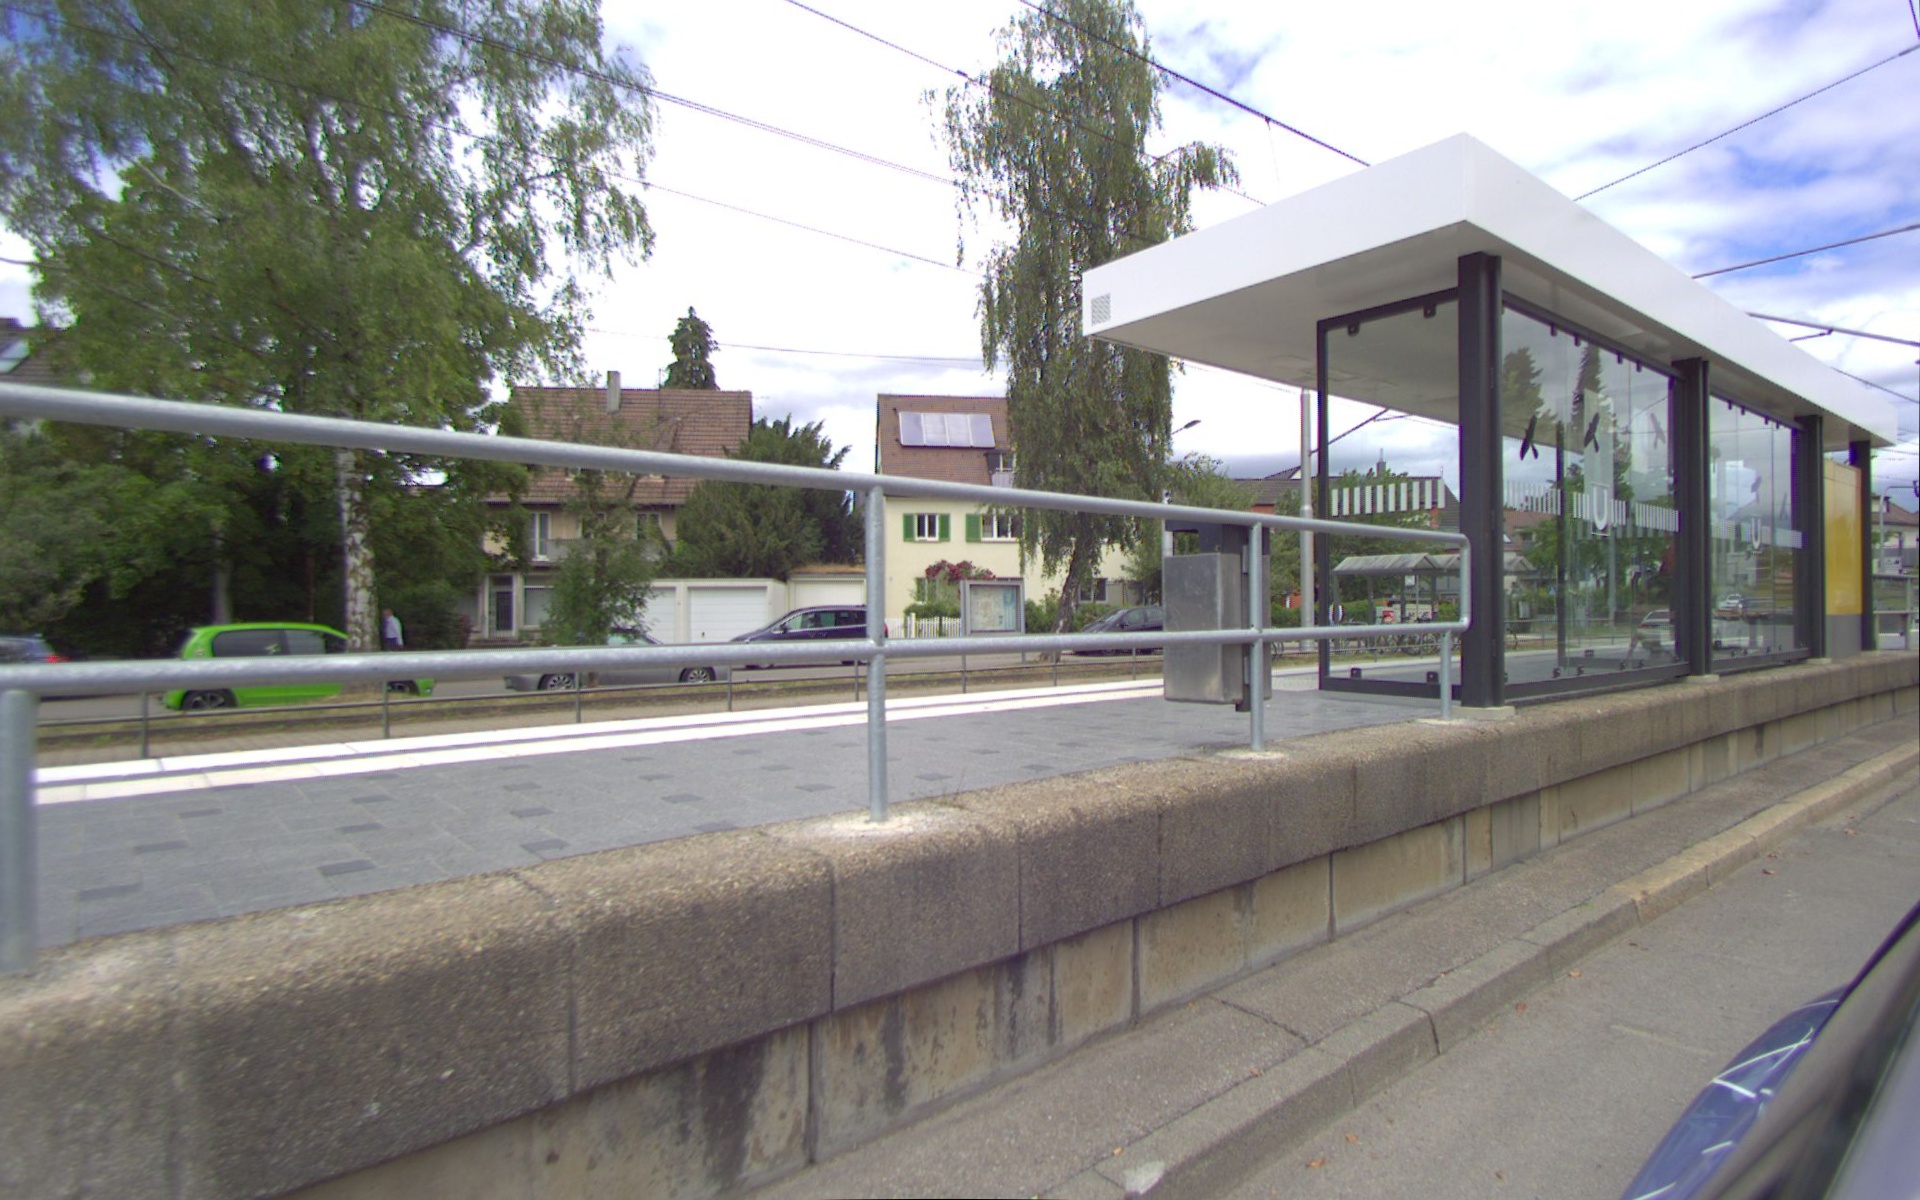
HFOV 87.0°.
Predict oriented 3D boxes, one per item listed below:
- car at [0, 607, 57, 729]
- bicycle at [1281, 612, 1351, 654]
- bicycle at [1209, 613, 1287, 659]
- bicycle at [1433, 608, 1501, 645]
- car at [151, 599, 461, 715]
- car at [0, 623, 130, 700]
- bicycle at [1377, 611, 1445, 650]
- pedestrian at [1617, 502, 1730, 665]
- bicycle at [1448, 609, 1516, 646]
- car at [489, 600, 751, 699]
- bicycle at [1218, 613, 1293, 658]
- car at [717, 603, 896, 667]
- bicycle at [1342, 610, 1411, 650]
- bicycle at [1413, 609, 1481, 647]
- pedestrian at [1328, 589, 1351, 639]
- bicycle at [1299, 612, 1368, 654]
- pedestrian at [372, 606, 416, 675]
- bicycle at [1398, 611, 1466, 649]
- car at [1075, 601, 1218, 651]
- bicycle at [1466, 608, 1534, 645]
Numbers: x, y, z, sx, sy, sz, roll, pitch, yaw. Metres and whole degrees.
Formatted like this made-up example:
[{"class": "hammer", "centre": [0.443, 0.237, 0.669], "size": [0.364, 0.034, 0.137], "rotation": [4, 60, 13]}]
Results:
[{"class": "car", "centre": [-14.382, 0.911, 12.960], "size": [4.023, 1.594, 1.761], "rotation": [0, -1, -36]}, {"class": "bicycle", "centre": [9.280, 0.842, 26.440], "size": [0.546, 1.055, 1.772], "rotation": [0, -1, -29]}, {"class": "bicycle", "centre": [6.865, 0.854, 24.198], "size": [0.547, 1.055, 1.768], "rotation": [0, -1, -40]}, {"class": "bicycle", "centre": [14.844, 0.766, 29.662], "size": [0.546, 1.055, 1.772], "rotation": [0, -1, -29]}, {"class": "car", "centre": [-10.179, 0.801, 15.955], "size": [3.925, 1.594, 1.735], "rotation": [0, -1, -36]}, {"class": "car", "centre": [-20.962, 1.340, 21.497], "size": [4.827, 1.507, 1.765], "rotation": [-2, 1, -23]}, {"class": "bicycle", "centre": [12.695, 0.841, 28.547], "size": [0.546, 1.055, 1.772], "rotation": [0, -1, -29]}, {"class": "pedestrian", "centre": [6.090, -0.132, 8.635], "size": [0.707, 1.315, 0.621], "rotation": [0, -1, -41]}, {"class": "bicycle", "centre": [15.455, 0.814, 30.013], "size": [0.546, 1.055, 1.772], "rotation": [0, -1, -29]}, {"class": "car", "centre": [-6.227, 0.825, 18.691], "size": [4.181, 1.594, 2.069], "rotation": [0, 0, -36]}, {"class": "bicycle", "centre": [7.252, 0.858, 24.938], "size": [0.547, 1.055, 1.768], "rotation": [0, -1, -39]}, {"class": "car", "centre": [-4.342, 0.934, 28.674], "size": [4.738, 1.657, 1.825], "rotation": [0, 0, -20]}, {"class": "bicycle", "centre": [11.383, 0.811, 27.711], "size": [0.546, 1.055, 1.772], "rotation": [0, -1, -29]}, {"class": "bicycle", "centre": [14.081, 0.806, 29.306], "size": [0.546, 1.055, 1.772], "rotation": [0, -1, -29]}, {"class": "pedestrian", "centre": [14.883, 0.542, 39.682], "size": [0.622, 1.939, 0.820], "rotation": [0, -2, 36]}, {"class": "bicycle", "centre": [9.859, 0.848, 26.755], "size": [0.546, 1.055, 1.772], "rotation": [0, -1, -29]}, {"class": "pedestrian", "centre": [-14.905, 1.060, 26.670], "size": [0.672, 1.794, 0.826], "rotation": [-1, -1, 4]}, {"class": "bicycle", "centre": [13.477, 0.838, 28.955], "size": [0.546, 1.055, 1.772], "rotation": [0, -1, -29]}, {"class": "car", "centre": [6.122, 0.825, 33.264], "size": [4.330, 1.505, 1.824], "rotation": [0, 0, -24]}, {"class": "bicycle", "centre": [16.222, 0.782, 30.456], "size": [0.546, 1.055, 1.772], "rotation": [0, -1, -29]}]
